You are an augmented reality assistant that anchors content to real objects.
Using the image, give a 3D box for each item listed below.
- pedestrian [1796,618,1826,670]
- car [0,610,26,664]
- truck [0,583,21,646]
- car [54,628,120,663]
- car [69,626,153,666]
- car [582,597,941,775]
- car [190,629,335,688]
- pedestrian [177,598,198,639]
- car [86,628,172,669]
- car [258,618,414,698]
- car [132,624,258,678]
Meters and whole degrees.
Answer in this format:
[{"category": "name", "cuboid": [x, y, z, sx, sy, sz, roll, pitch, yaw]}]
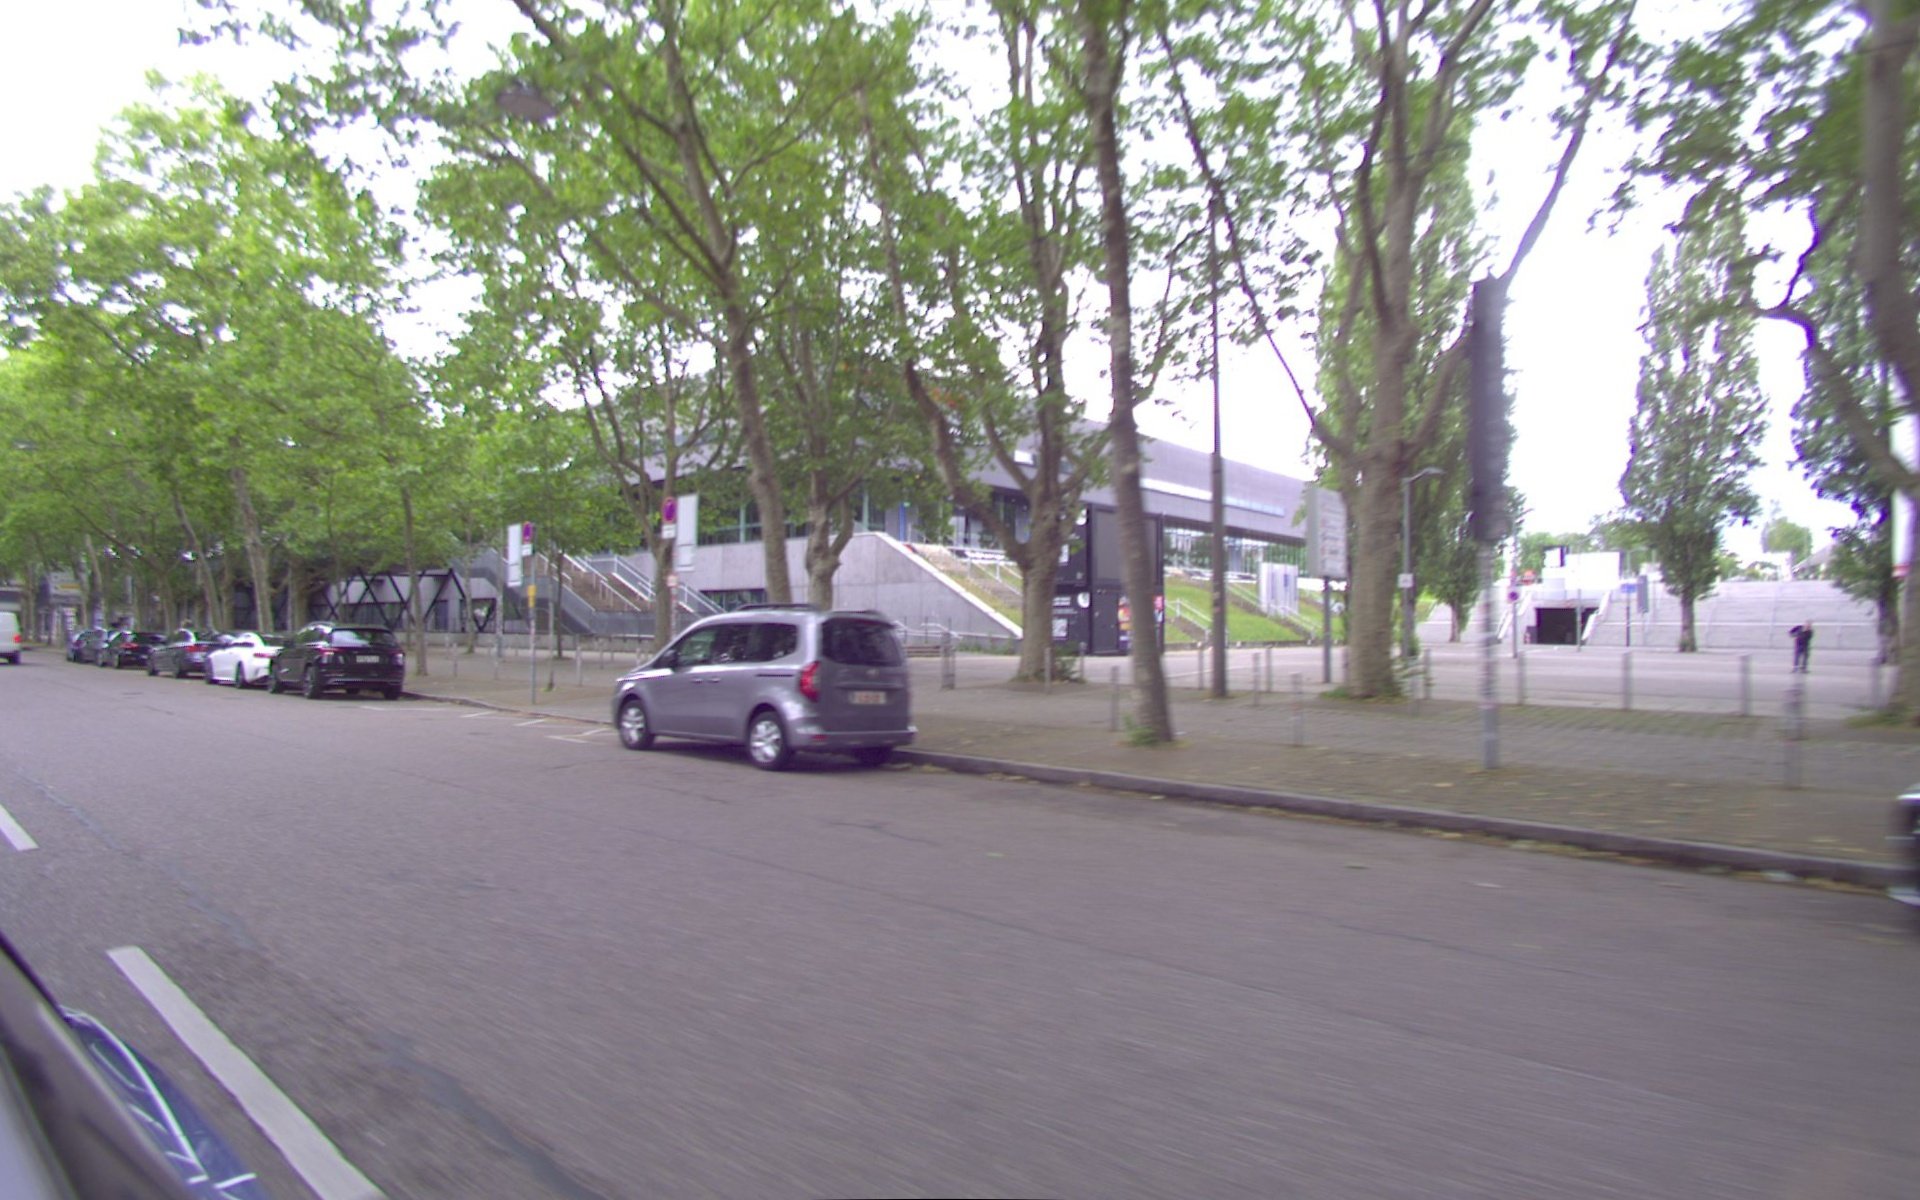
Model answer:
[{"category": "pedestrian", "cuboid": [27.989, 1.435, 33.299, 0.693, 1.703, 0.636, -2, -2, 43]}, {"category": "car", "cuboid": [-37.416, 1.395, 38.609, 5.463, 1.976, 2.037, -2, -3, 42]}, {"category": "truck", "cuboid": [-62.799, 0.902, 65.219, 2.876, 3.898, 9.472, 3, -3, -45]}, {"category": "car", "cuboid": [-38.026, 1.990, 44.056, 4.000, 1.372, 1.675, -2, -7, 43]}, {"category": "car", "cuboid": [-34.428, 1.867, 41.008, 3.643, 1.489, 1.679, -1, -5, 36]}, {"category": "car", "cuboid": [-2.599, 0.966, 12.571, 4.610, 1.809, 1.876, -1, -5, 41]}, {"category": "car", "cuboid": [-18.047, 1.479, 26.085, 5.002, 1.373, 1.797, -2, -4, 40]}, {"category": "pedestrian", "cuboid": [-35.295, 0.870, 46.243, 0.825, 1.854, 0.502, -1, -2, 35]}, {"category": "car", "cuboid": [-30.843, 1.792, 37.524, 4.328, 1.392, 1.690, -2, -6, 41]}, {"category": "car", "cuboid": [-13.929, 1.272, 22.486, 4.345, 1.606, 1.797, -1, -5, 43]}, {"category": "car", "cuboid": [-23.001, 1.502, 30.359, 4.987, 1.496, 1.802, -1, -3, 38]}]
